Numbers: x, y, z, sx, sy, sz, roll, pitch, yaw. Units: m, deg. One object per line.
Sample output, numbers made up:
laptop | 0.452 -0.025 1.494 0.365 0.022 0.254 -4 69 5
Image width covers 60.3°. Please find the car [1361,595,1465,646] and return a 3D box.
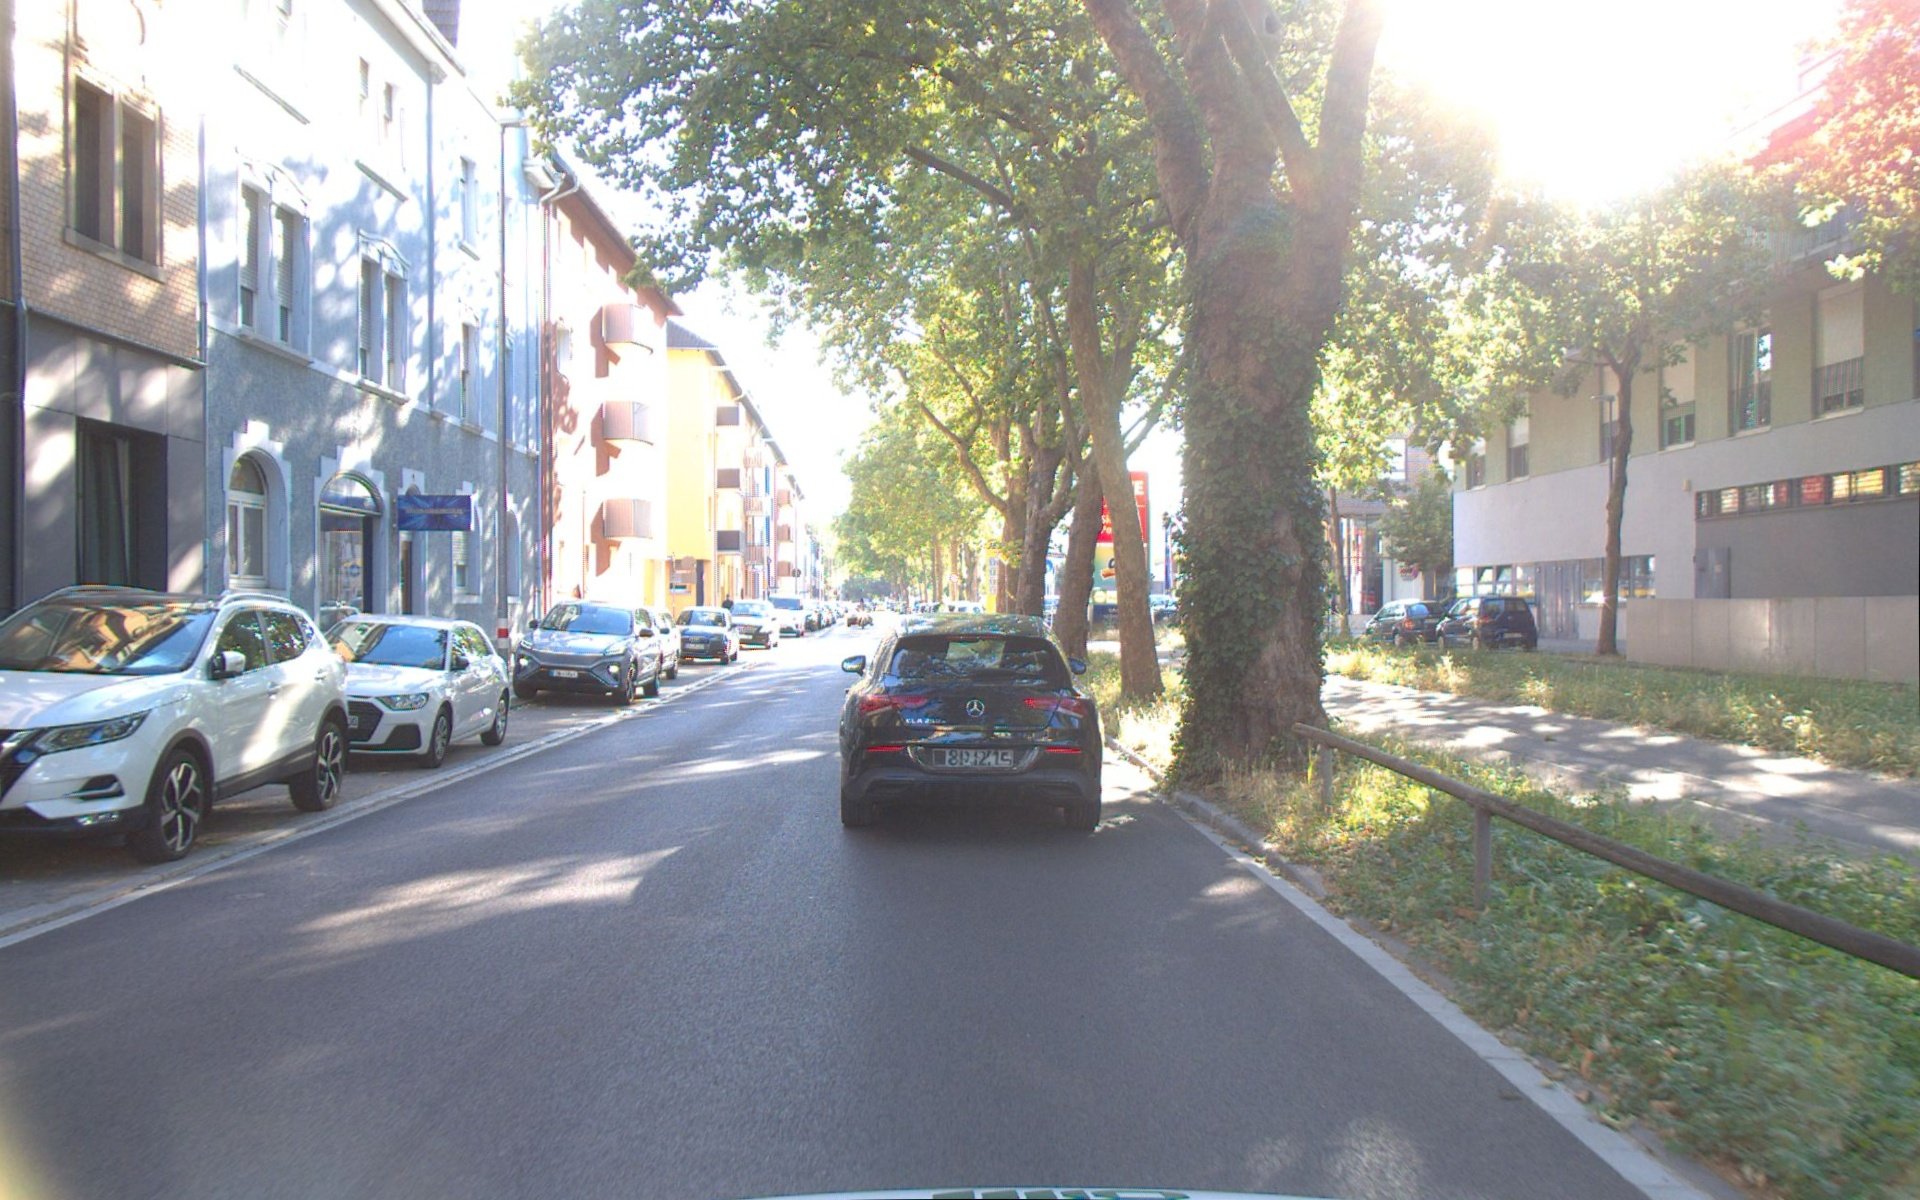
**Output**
car | 13.836 0.607 50.764 1.822 1.494 4.120 -1 0 -4

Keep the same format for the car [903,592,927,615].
car | -4.215 0.300 154.496 1.955 2.049 3.994 0 -2 -6

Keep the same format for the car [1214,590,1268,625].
car | 14.442 0.372 85.139 1.946 1.764 4.179 -1 0 -2

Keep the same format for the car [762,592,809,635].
car | -8.110 0.609 77.273 1.699 1.940 5.208 0 0 -1

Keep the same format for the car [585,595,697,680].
car | -6.733 0.756 35.240 1.644 1.670 3.984 1 0 -1

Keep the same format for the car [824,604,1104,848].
car | 0.061 0.785 12.251 1.708 1.469 3.969 1 0 1

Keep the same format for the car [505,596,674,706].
car | -6.143 0.788 27.960 1.869 1.670 4.576 1 0 -1

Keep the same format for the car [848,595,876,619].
car | -6.433 0.428 109.052 1.736 1.504 4.320 -1 0 -2

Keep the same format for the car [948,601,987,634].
car | 0.339 0.868 81.708 1.603 1.493 4.018 -2 -1 -4

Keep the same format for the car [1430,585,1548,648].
car | 14.001 0.415 44.004 1.821 1.580 3.758 -1 0 -2

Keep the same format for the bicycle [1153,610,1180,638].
bicycle | 7.545 0.875 60.357 0.377 1.021 1.478 -1 0 -18

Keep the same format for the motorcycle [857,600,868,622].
motorcycle | -5.669 0.644 96.409 0.536 1.263 2.263 -3 0 -2

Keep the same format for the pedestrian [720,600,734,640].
pedestrian | -10.963 0.936 77.835 0.575 1.821 0.642 -1 0 -2

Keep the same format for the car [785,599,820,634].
car | -8.549 0.853 90.057 1.711 1.819 4.545 1 0 -4

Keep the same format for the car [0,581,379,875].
car | -5.503 0.700 11.237 1.644 1.612 4.199 1 0 -1

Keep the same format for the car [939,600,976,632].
car | -0.159 0.852 88.521 1.774 1.565 4.581 -3 -1 -2

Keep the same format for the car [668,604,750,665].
car | -6.603 0.871 43.860 1.644 1.512 3.600 1 0 -1

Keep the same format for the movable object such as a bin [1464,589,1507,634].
movable object such as a bin | 17.947 0.380 56.516 1.167 1.488 1.408 -1 0 9

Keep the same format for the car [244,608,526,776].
car | -5.896 0.872 17.441 1.644 1.522 3.871 1 0 -1

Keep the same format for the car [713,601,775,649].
car | -7.392 0.828 56.975 1.644 1.550 4.020 1 0 -1
